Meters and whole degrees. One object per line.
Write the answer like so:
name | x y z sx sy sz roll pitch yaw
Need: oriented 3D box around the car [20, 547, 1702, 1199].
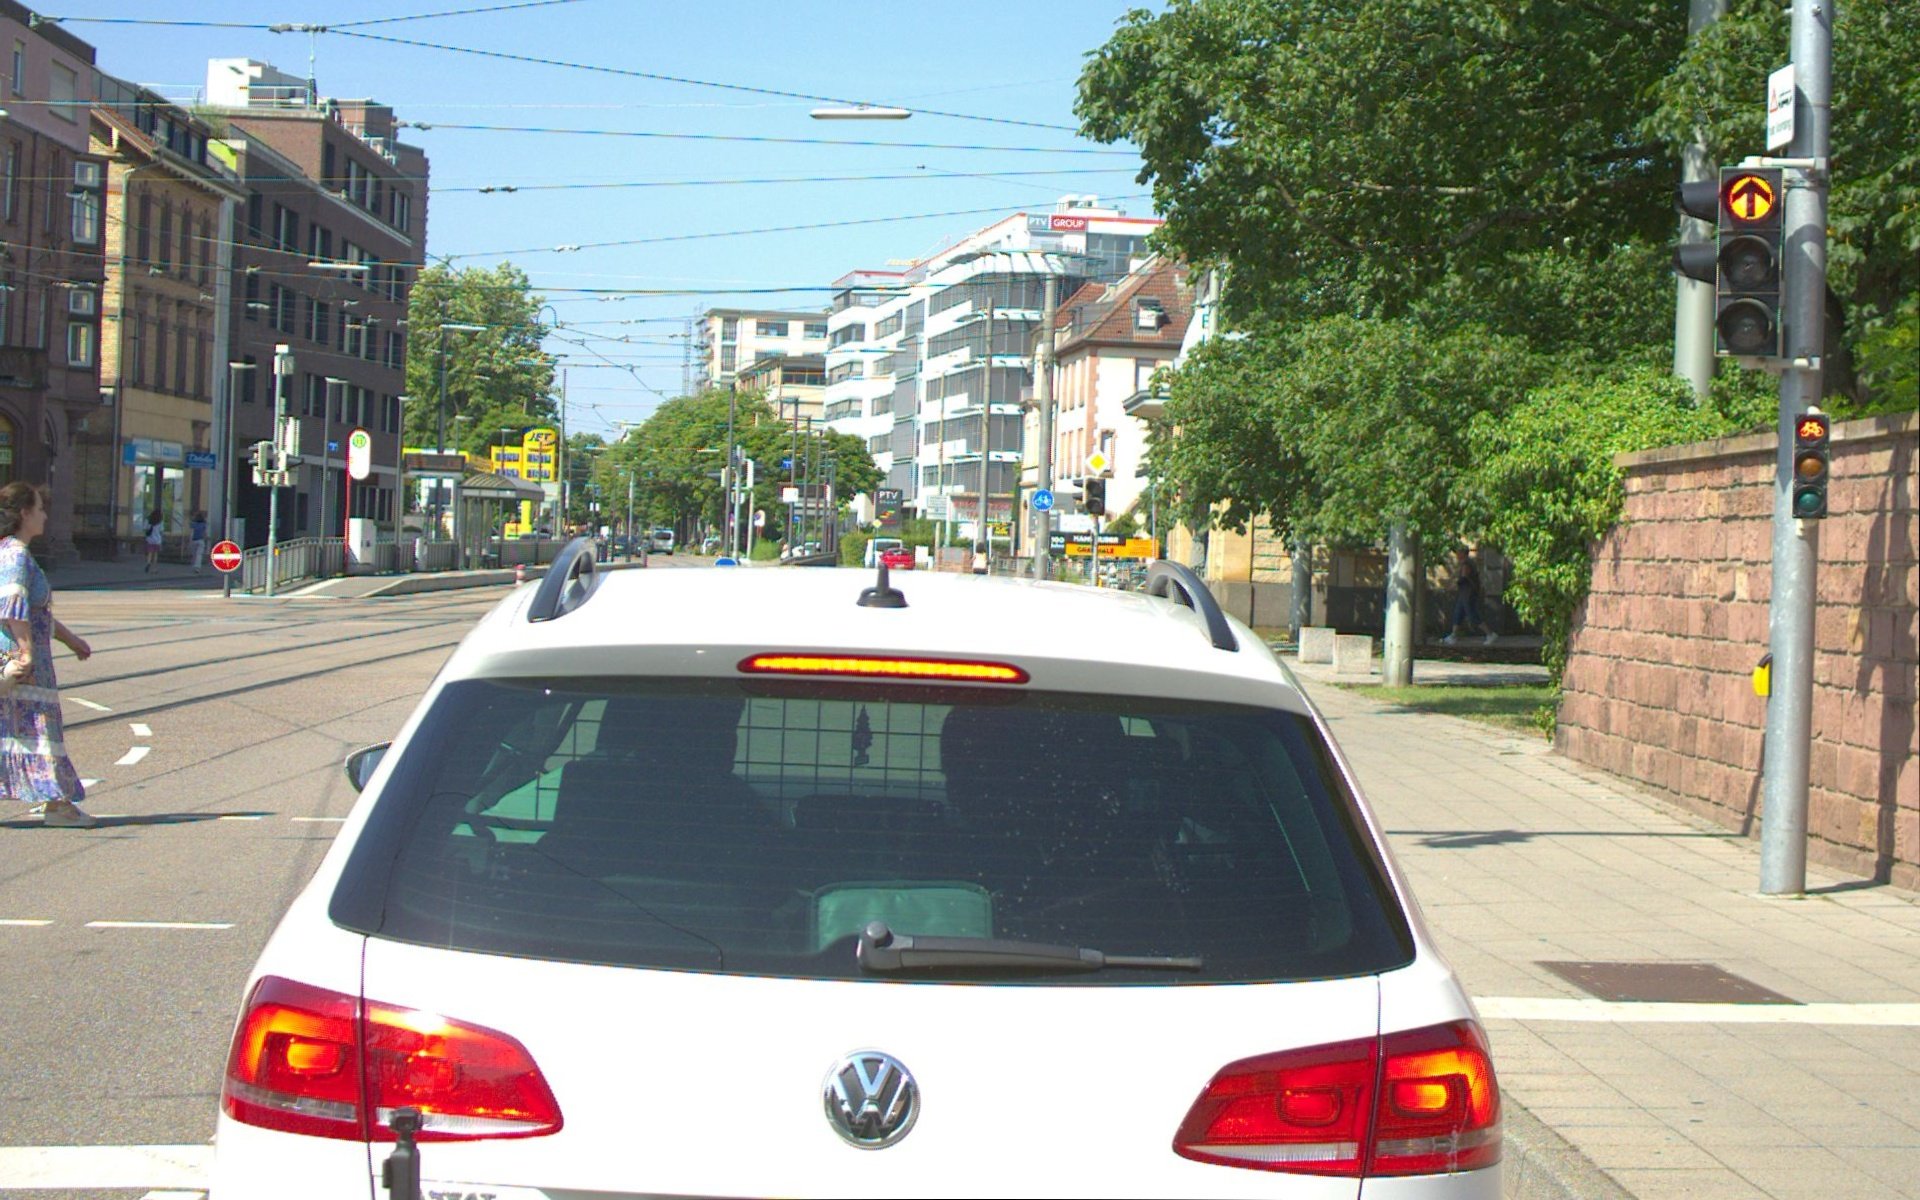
car | -0.148 0.670 5.743 1.808 1.443 4.000 2 1 -1

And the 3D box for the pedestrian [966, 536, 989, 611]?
pedestrian | 0.542 -0.810 106.710 0.690 2.317 1.232 0 0 1

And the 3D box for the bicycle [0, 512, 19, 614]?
bicycle | -13.128 -0.479 43.576 2.242 1.293 0.560 0 0 -33

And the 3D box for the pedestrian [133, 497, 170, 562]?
pedestrian | -21.910 -1.898 93.180 0.861 1.737 0.975 0 0 -6

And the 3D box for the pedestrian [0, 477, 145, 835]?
pedestrian | -4.531 0.257 16.330 0.972 1.645 0.956 0 0 -38

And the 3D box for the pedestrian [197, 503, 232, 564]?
pedestrian | -21.492 -1.904 99.091 0.861 1.737 0.975 0 0 -6

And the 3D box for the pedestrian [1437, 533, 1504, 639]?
pedestrian | 8.450 -0.226 56.858 0.972 1.737 0.864 0 0 17
